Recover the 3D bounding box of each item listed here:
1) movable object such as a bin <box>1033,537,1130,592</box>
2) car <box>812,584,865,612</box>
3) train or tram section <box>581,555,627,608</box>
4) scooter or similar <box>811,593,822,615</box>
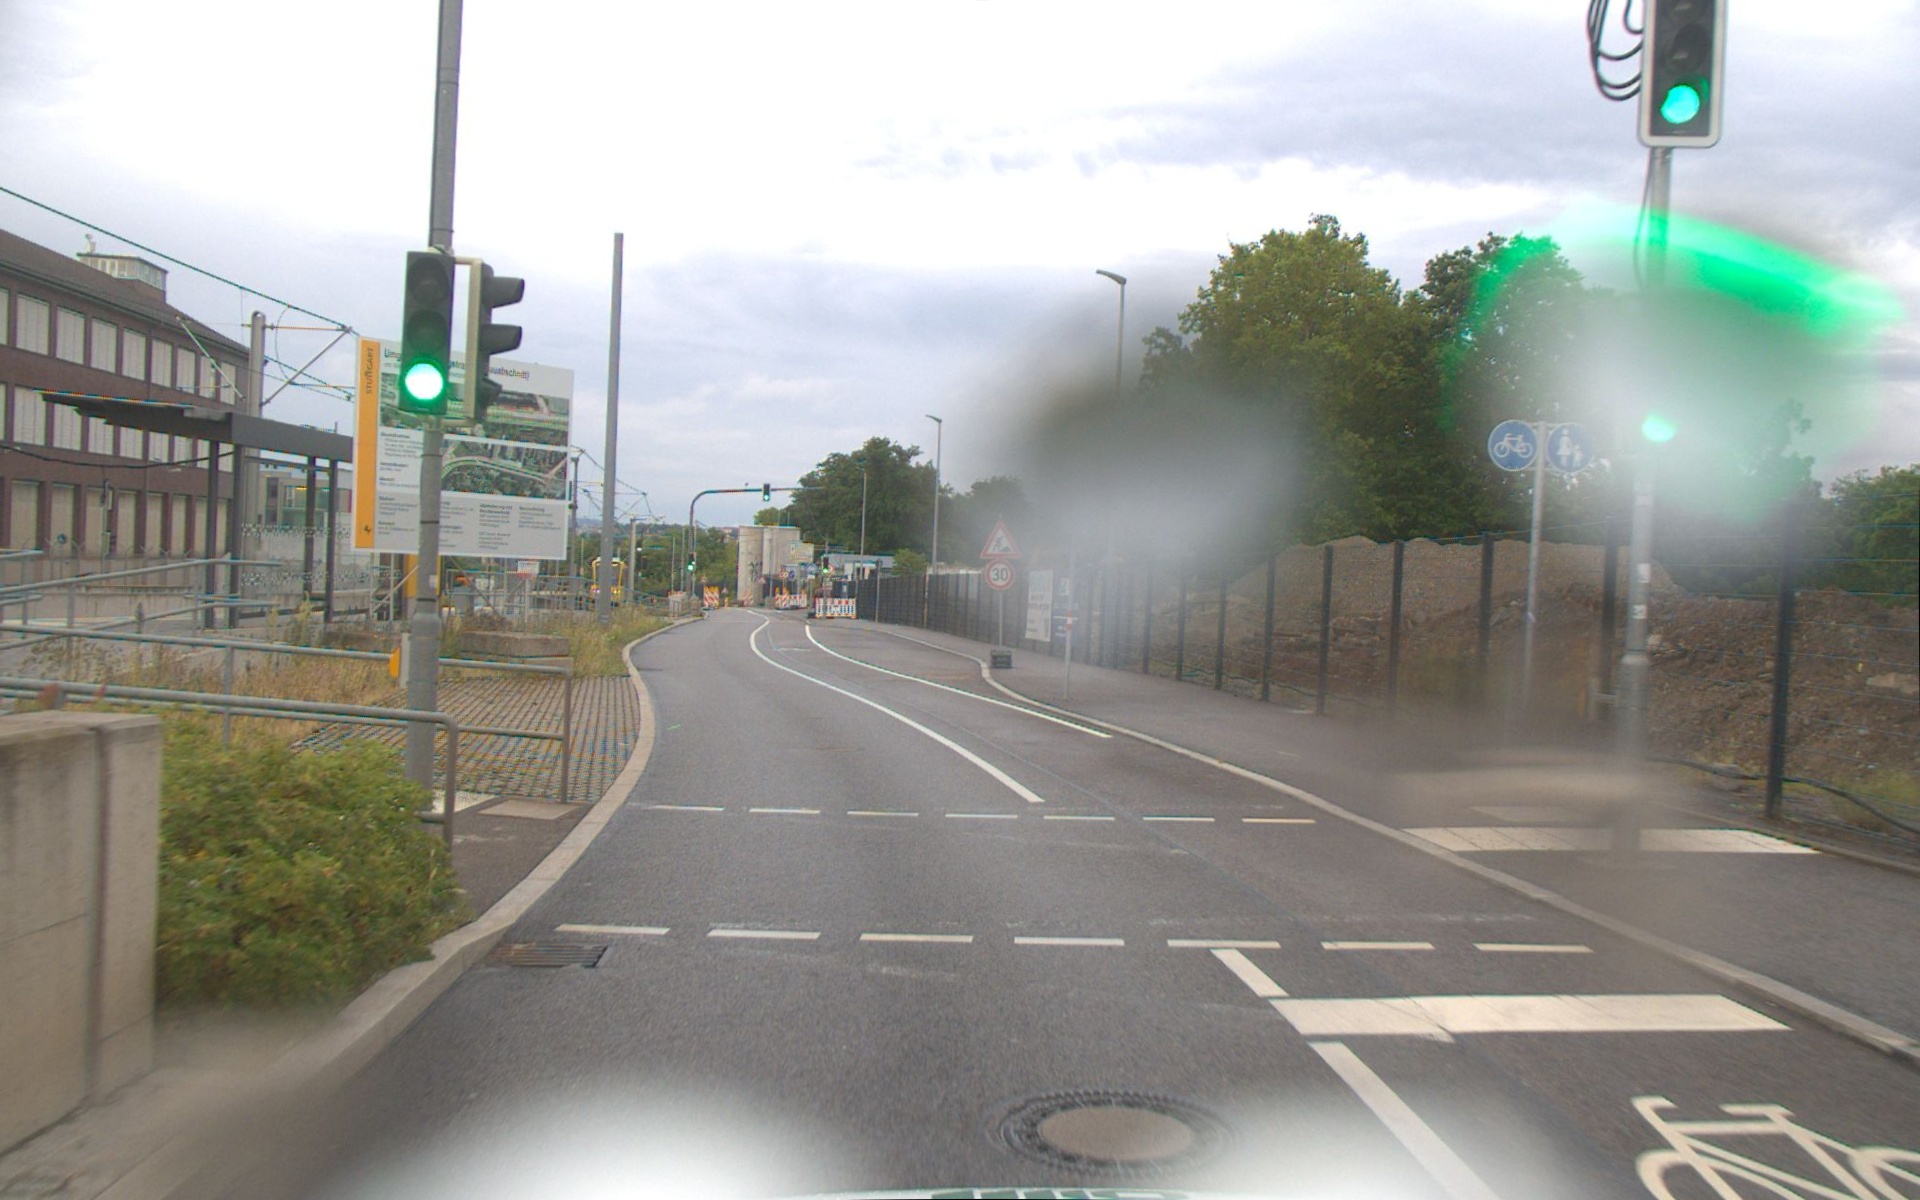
[{"bbox_3d":[14.115,-4.114,193.021,11.004,6.100,3.490,1,-1,-2],"label":"movable object such as a bin"},{"bbox_3d":[-8.183,-0.120,111.686,1.782,1.825,4.408,1,0,21],"label":"car"},{"bbox_3d":[-29.079,-1.465,135.623,2.902,3.953,19.523,3,0,-10],"label":"train or tram section"},{"bbox_3d":[-9.152,0.274,105.725,0.602,1.375,1.911,1,0,-3],"label":"scooter or similar"}]
